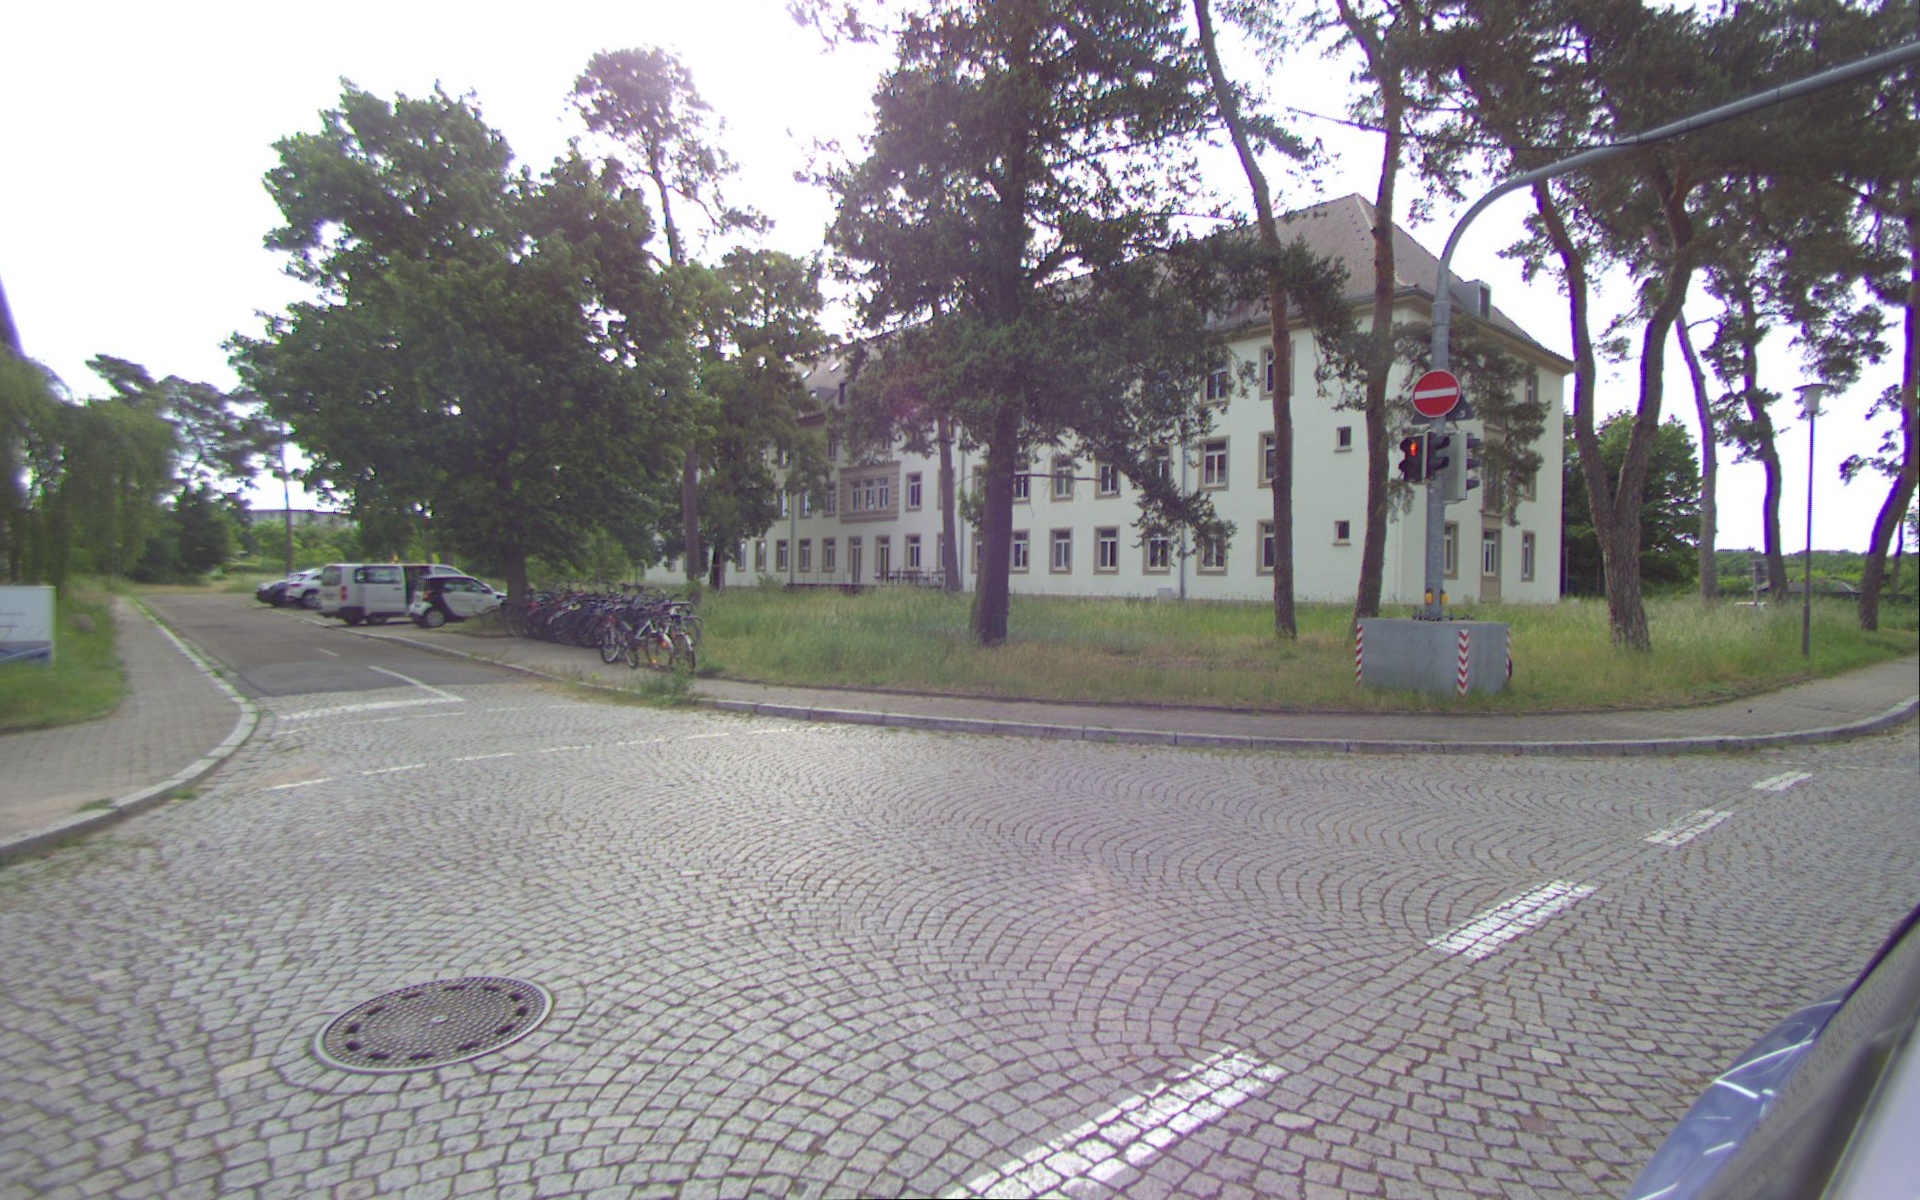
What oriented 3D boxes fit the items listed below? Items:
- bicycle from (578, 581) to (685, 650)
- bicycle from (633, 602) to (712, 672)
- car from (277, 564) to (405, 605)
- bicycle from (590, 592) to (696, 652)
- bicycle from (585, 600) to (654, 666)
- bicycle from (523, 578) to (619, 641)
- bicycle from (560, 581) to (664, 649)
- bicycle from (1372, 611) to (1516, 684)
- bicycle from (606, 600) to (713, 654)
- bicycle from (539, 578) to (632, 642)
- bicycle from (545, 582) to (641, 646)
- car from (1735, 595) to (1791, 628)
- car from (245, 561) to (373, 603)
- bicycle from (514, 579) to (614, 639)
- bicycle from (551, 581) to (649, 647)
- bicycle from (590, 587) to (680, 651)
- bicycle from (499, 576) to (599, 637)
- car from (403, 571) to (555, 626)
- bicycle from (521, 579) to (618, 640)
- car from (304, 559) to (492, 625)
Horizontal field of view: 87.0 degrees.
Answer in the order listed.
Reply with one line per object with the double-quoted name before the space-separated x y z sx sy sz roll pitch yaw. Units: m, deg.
"bicycle" -6.646 0.298 20.548 2.009 1.336 0.439 0 1 -36
"bicycle" -4.479 0.547 15.725 0.521 0.992 1.623 0 1 -42
"car" -26.477 -0.656 43.347 4.437 1.638 1.997 0 1 -41
"bicycle" -6.113 0.411 19.570 1.866 1.115 0.543 0 1 -36
"bicycle" -5.727 0.526 16.962 0.533 1.027 1.538 0 1 -42
"bicycle" -8.622 0.199 22.474 1.902 1.336 0.555 0 1 -36
"bicycle" -7.157 0.295 20.855 1.938 1.336 0.578 0 1 -36
"bicycle" 6.658 0.623 13.987 0.563 0.885 1.703 1 1 -40
"bicycle" -5.651 0.487 19.105 1.866 0.961 0.543 0 1 -37
"bicycle" -8.150 0.206 22.076 1.818 1.336 0.557 0 1 -36
"bicycle" -7.829 0.287 21.652 1.882 1.336 0.393 0 1 -36
"car" 40.128 0.544 50.557 3.222 1.451 1.640 -3 3 -41
"car" -29.084 -0.800 45.308 4.613 1.795 1.997 0 1 -41
"bicycle" -9.176 0.193 23.500 2.092 1.336 0.556 0 1 -36
"bicycle" -7.557 0.292 21.290 1.884 1.336 0.507 0 1 -36
"bicycle" -6.435 0.363 20.058 1.608 1.231 0.543 0 1 -36
"bicycle" -9.726 0.143 23.963 2.063 1.384 0.760 0 1 -36
"car" -14.602 -0.061 30.803 3.861 1.549 1.861 0 1 -40
"bicycle" -8.856 0.198 23.023 1.977 1.336 0.542 0 1 -36
"car" -17.845 -0.288 32.352 2.224 1.934 4.805 1 1 33
